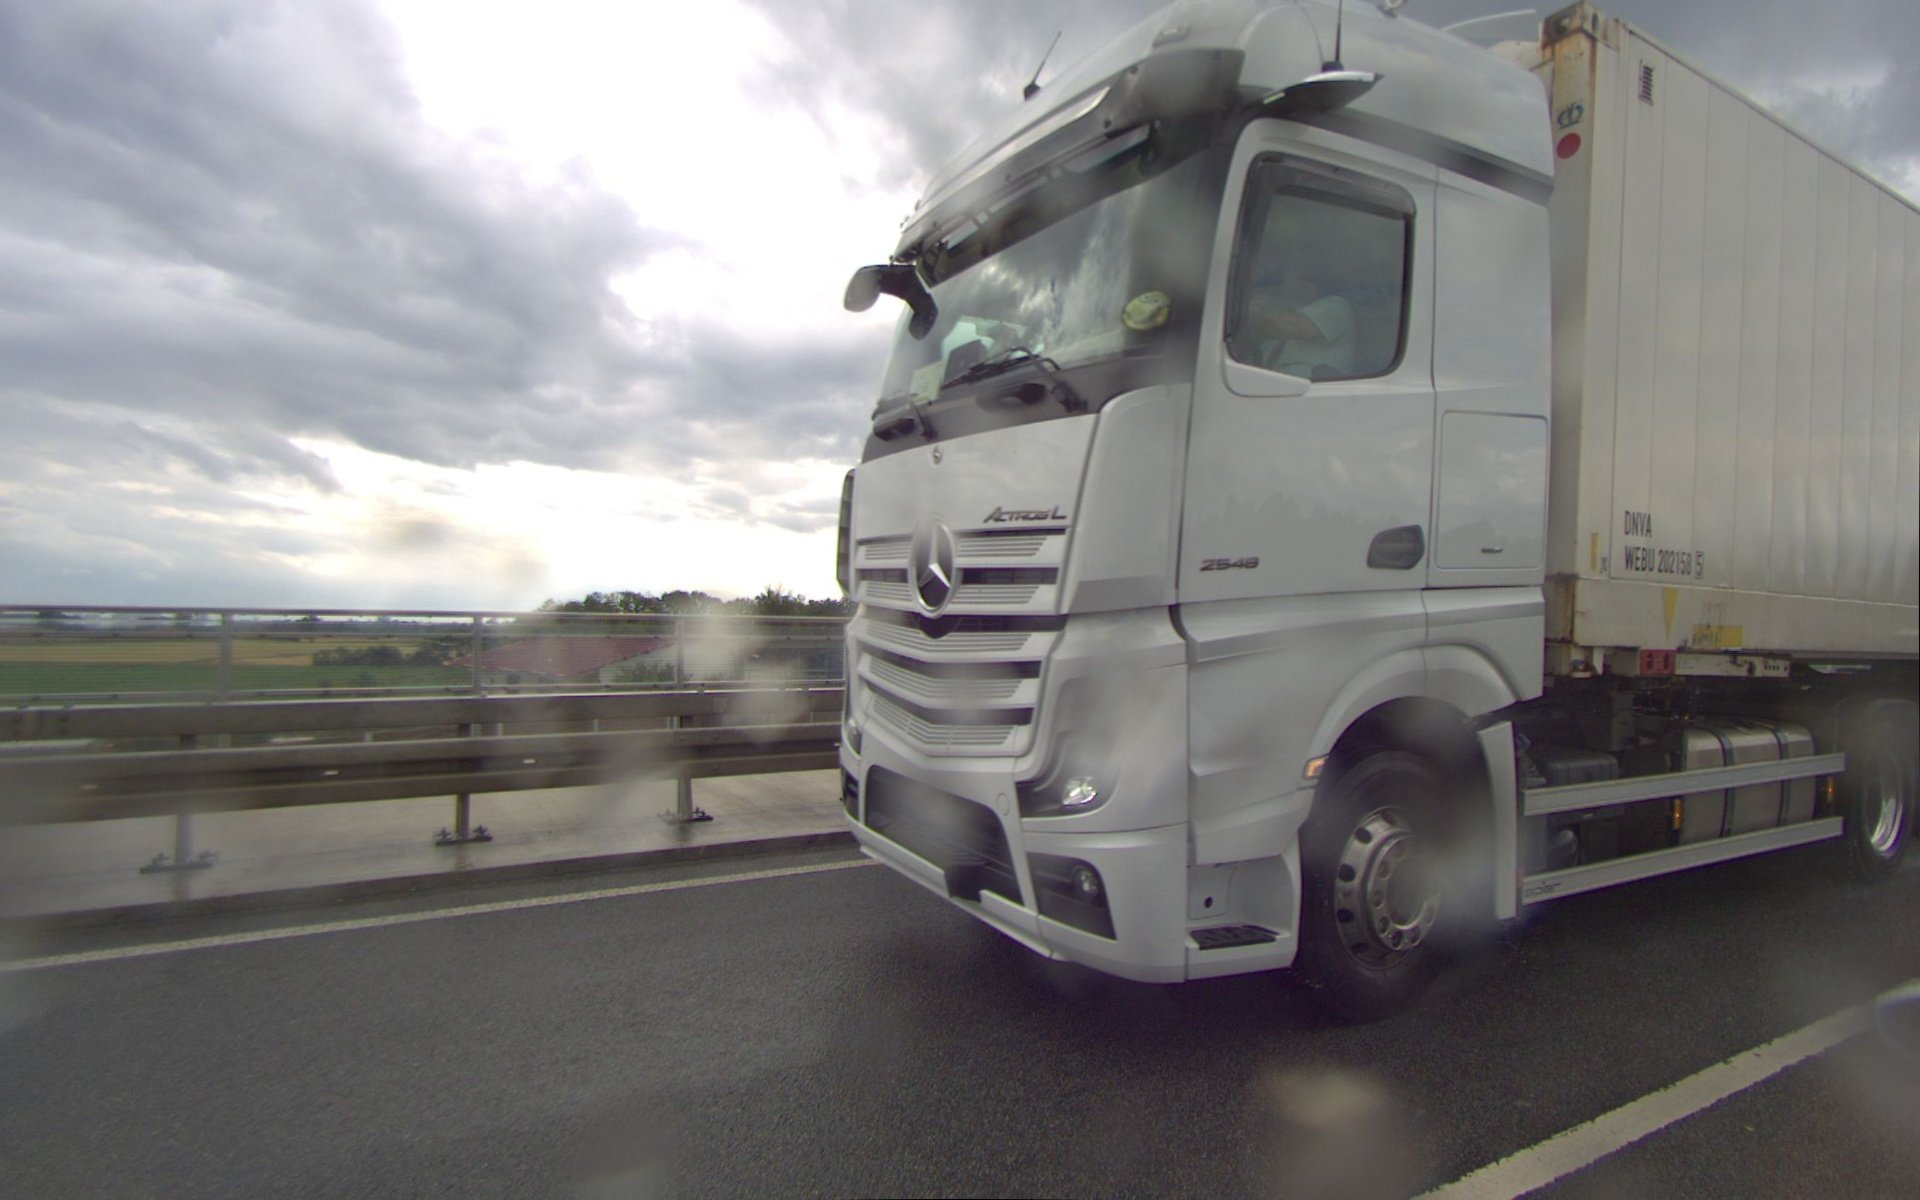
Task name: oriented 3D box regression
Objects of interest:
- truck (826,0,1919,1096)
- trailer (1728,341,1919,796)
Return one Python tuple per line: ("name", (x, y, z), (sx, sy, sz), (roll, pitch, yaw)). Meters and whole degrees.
("truck", (4.279, -0.448, 6.633), (9.936, 4.070, 2.670), (2, 0, -30))
("trailer", (12.249, -0.179, 11.340), (8.385, 4.129, 2.670), (2, 0, -30))
